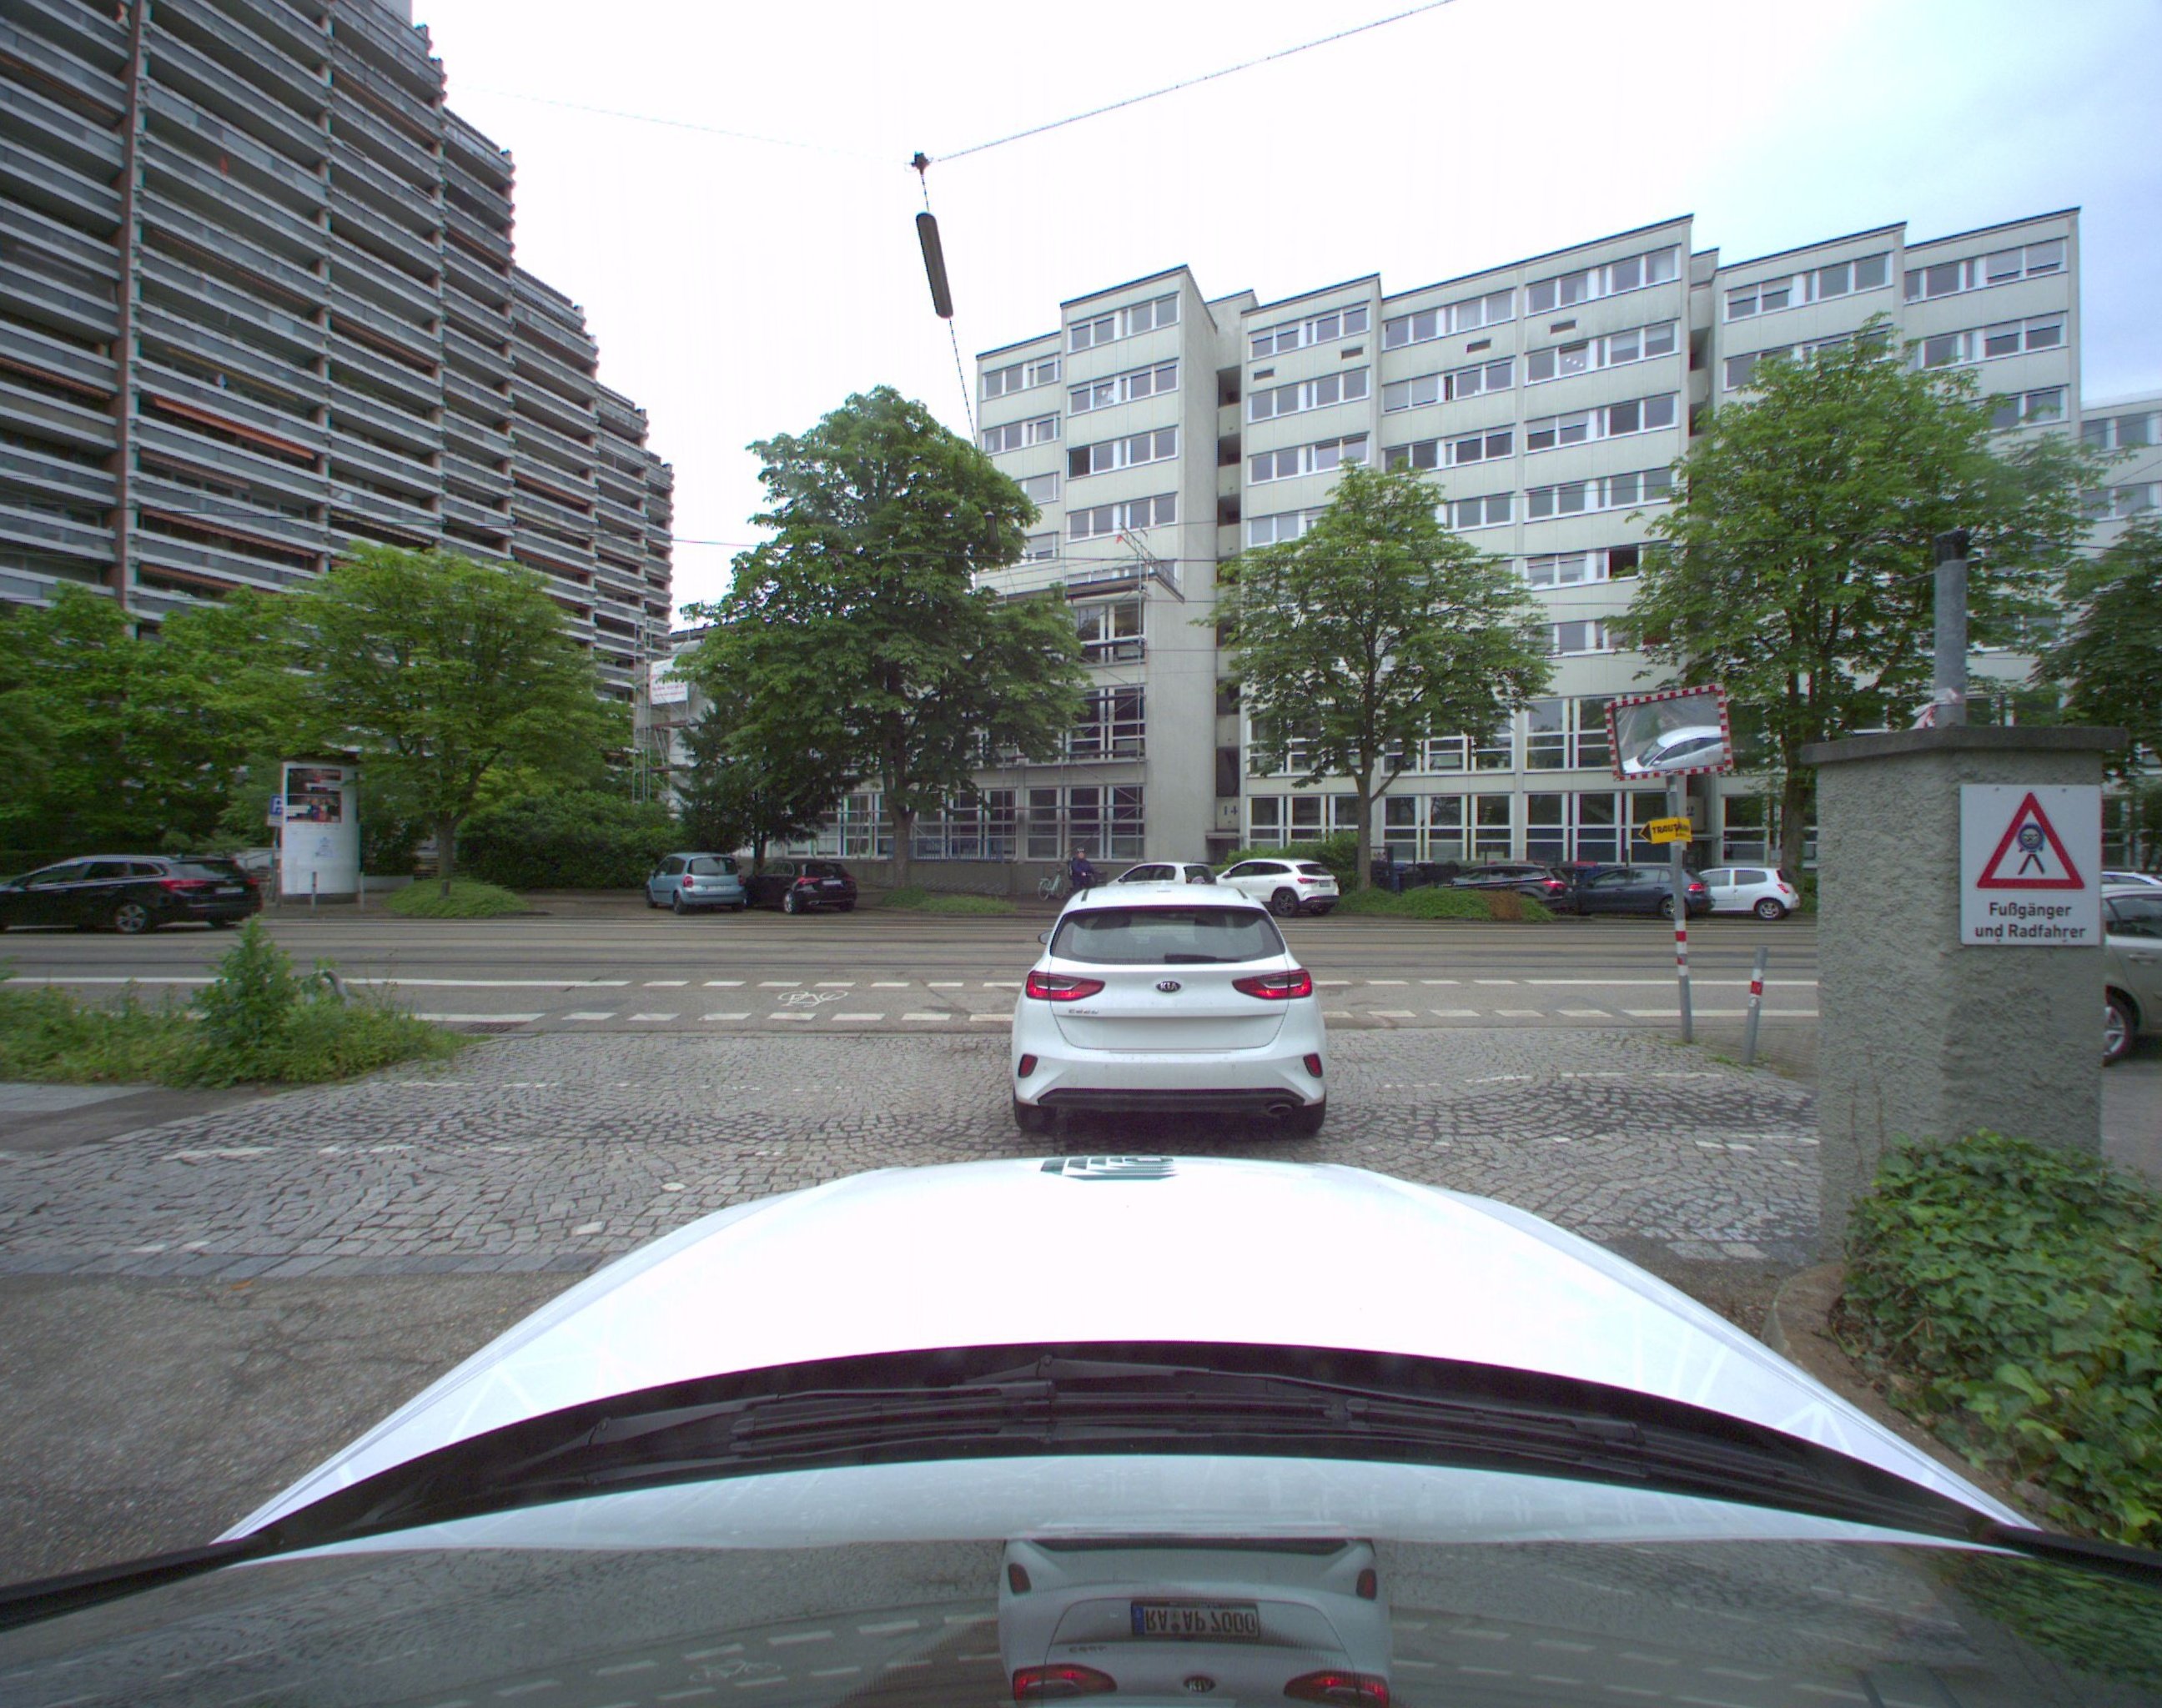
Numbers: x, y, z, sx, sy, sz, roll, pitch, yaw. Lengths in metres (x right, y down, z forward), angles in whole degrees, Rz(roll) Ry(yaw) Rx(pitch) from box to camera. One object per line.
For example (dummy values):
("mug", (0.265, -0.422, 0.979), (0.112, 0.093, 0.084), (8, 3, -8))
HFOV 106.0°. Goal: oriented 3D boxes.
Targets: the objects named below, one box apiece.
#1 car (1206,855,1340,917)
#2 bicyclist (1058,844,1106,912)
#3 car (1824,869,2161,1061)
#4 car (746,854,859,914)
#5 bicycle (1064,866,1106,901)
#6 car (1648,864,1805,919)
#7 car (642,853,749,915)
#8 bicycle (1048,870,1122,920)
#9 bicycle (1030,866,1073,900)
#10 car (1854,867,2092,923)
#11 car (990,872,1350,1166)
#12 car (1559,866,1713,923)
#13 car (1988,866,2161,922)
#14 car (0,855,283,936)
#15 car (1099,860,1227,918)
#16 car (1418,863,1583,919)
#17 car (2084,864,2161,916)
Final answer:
("car", (5.350, 0.852, 22.962), (1.565, 1.618, 3.367), (0, -1, -42))
("bicyclist", (0.029, 0.604, 21.016), (0.839, 1.698, 0.886), (1, -1, -43))
("car", (9.227, 0.912, 7.343), (3.570, 1.501, 1.665), (0, 0, 0))
("car", (-7.622, 0.770, 22.127), (1.628, 1.511, 3.295), (0, -1, -45))
("bicycle", (0.173, 0.999, 28.597), (0.638, 1.074, 2.325), (0, 2, 22))
("car", (18.455, 1.021, 23.365), (1.425, 1.474, 3.348), (0, -1, -44))
("car", (-10.524, 0.756, 22.147), (1.628, 1.537, 3.296), (0, -1, -45))
("bicycle", (0.089, 1.020, 20.942), (0.826, 1.174, 1.892), (1, 0, -43))
("bicycle", (-1.025, 1.011, 29.140), (0.638, 1.074, 2.325), (0, 2, 22))
("car", (25.336, 1.135, 23.405), (4.441, 1.474, 1.425), (-1, -4, 42))
("car", (0.603, 0.868, 6.046), (1.767, 1.433, 3.984), (-1, -2, 5))
("car", (15.442, 1.073, 22.760), (1.425, 1.474, 3.348), (0, -1, -44))
("car", (28.560, 1.099, 23.347), (1.425, 1.474, 3.348), (0, -1, -44))
("car", (-18.667, 0.765, 15.896), (4.231, 1.490, 1.821), (0, 0, -3))
("car", (2.207, 0.916, 22.562), (1.565, 1.473, 3.367), (0, -1, -42))
("car", (11.936, 1.000, 23.306), (3.904, 1.474, 1.684), (-1, -1, 42))
("car", (31.648, 1.045, 23.437), (1.425, 1.474, 3.348), (0, 0, -44))
